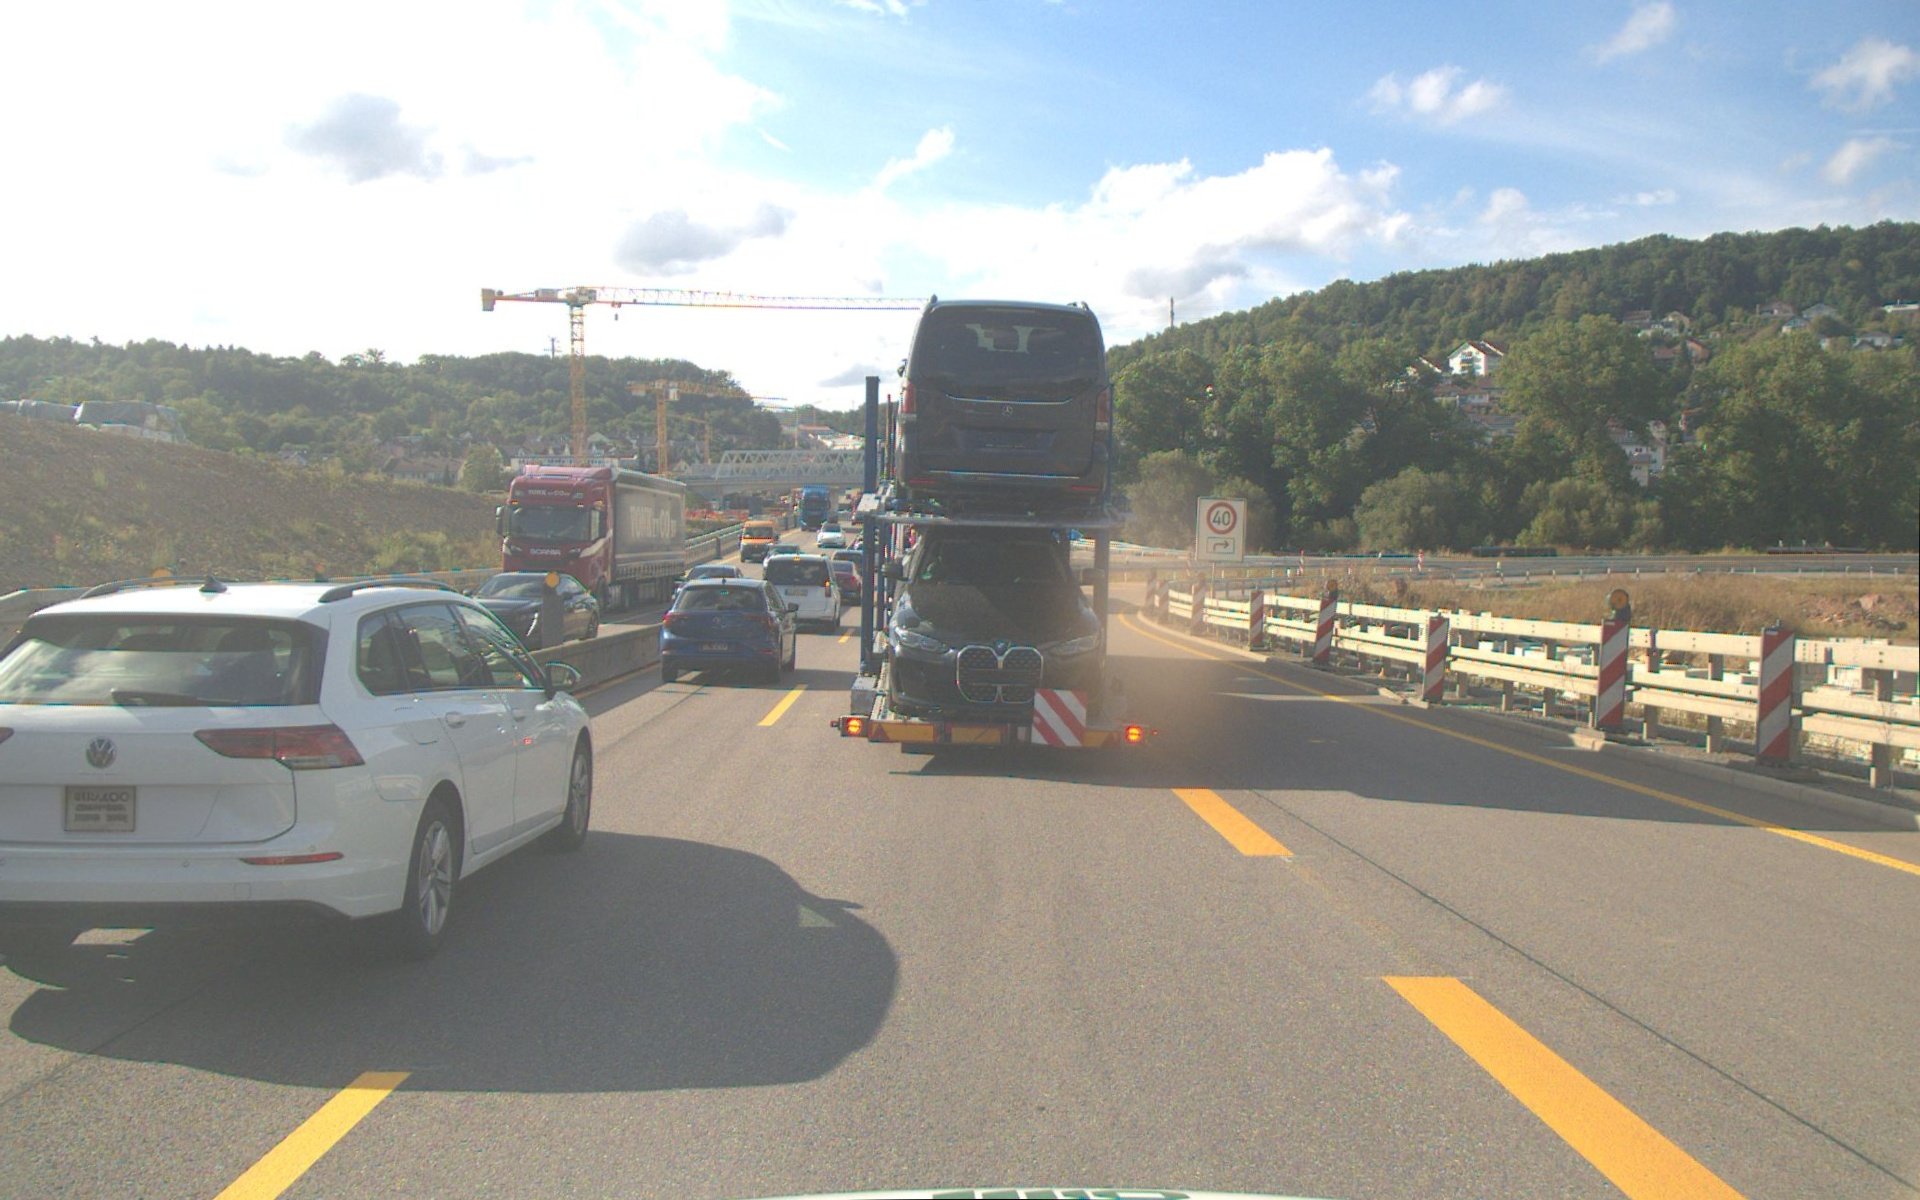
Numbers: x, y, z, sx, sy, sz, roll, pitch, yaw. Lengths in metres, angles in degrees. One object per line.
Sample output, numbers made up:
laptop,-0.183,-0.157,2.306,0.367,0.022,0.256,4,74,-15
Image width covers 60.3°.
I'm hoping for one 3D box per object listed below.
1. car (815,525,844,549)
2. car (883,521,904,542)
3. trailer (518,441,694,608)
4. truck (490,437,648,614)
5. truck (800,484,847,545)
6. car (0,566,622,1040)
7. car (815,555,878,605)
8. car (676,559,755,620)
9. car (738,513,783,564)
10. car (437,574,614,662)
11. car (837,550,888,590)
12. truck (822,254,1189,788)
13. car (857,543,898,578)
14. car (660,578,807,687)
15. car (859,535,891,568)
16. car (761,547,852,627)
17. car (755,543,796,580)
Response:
car,-9.614,-4.656,122.013,1.953,1.713,3.999,1,2,-2
car,-5.988,-6.194,149.291,1.808,1.677,4.502,1,0,-3
trailer,-10.868,-2.184,52.511,2.917,4.499,13.811,2,1,-2
truck,-10.693,-1.958,45.858,2.855,4.463,6.285,2,1,-1
truck,-12.963,-8.052,158.223,2.763,4.872,13.057,1,-1,2
car,-2.866,0.629,7.572,1.734,1.517,4.516,1,1,-1
car,-3.921,-0.674,57.705,1.953,1.584,4.399,1,-1,-2
car,-7.199,-0.318,49.054,1.807,1.677,4.503,1,0,-2
car,-12.022,-3.690,100.076,1.953,2.929,6.064,1,1,0
car,-7.899,0.286,30.529,1.783,1.465,4.616,1,0,3
car,-4.179,-1.271,71.587,1.953,1.579,3.999,1,-1,0
truck,0.181,-0.826,22.258,2.697,4.023,18.888,2,1,-1
car,-4.445,-2.125,89.510,1.953,1.695,4.000,1,-1,0
car,-3.258,0.429,24.467,1.687,1.446,3.999,1,0,-1
car,-5.799,-3.316,113.125,1.953,2.049,3.999,1,-1,-1
car,-3.687,-0.268,40.400,1.785,1.823,4.000,1,-1,0
car,-8.862,-1.822,79.551,1.808,1.677,4.232,1,0,-5
